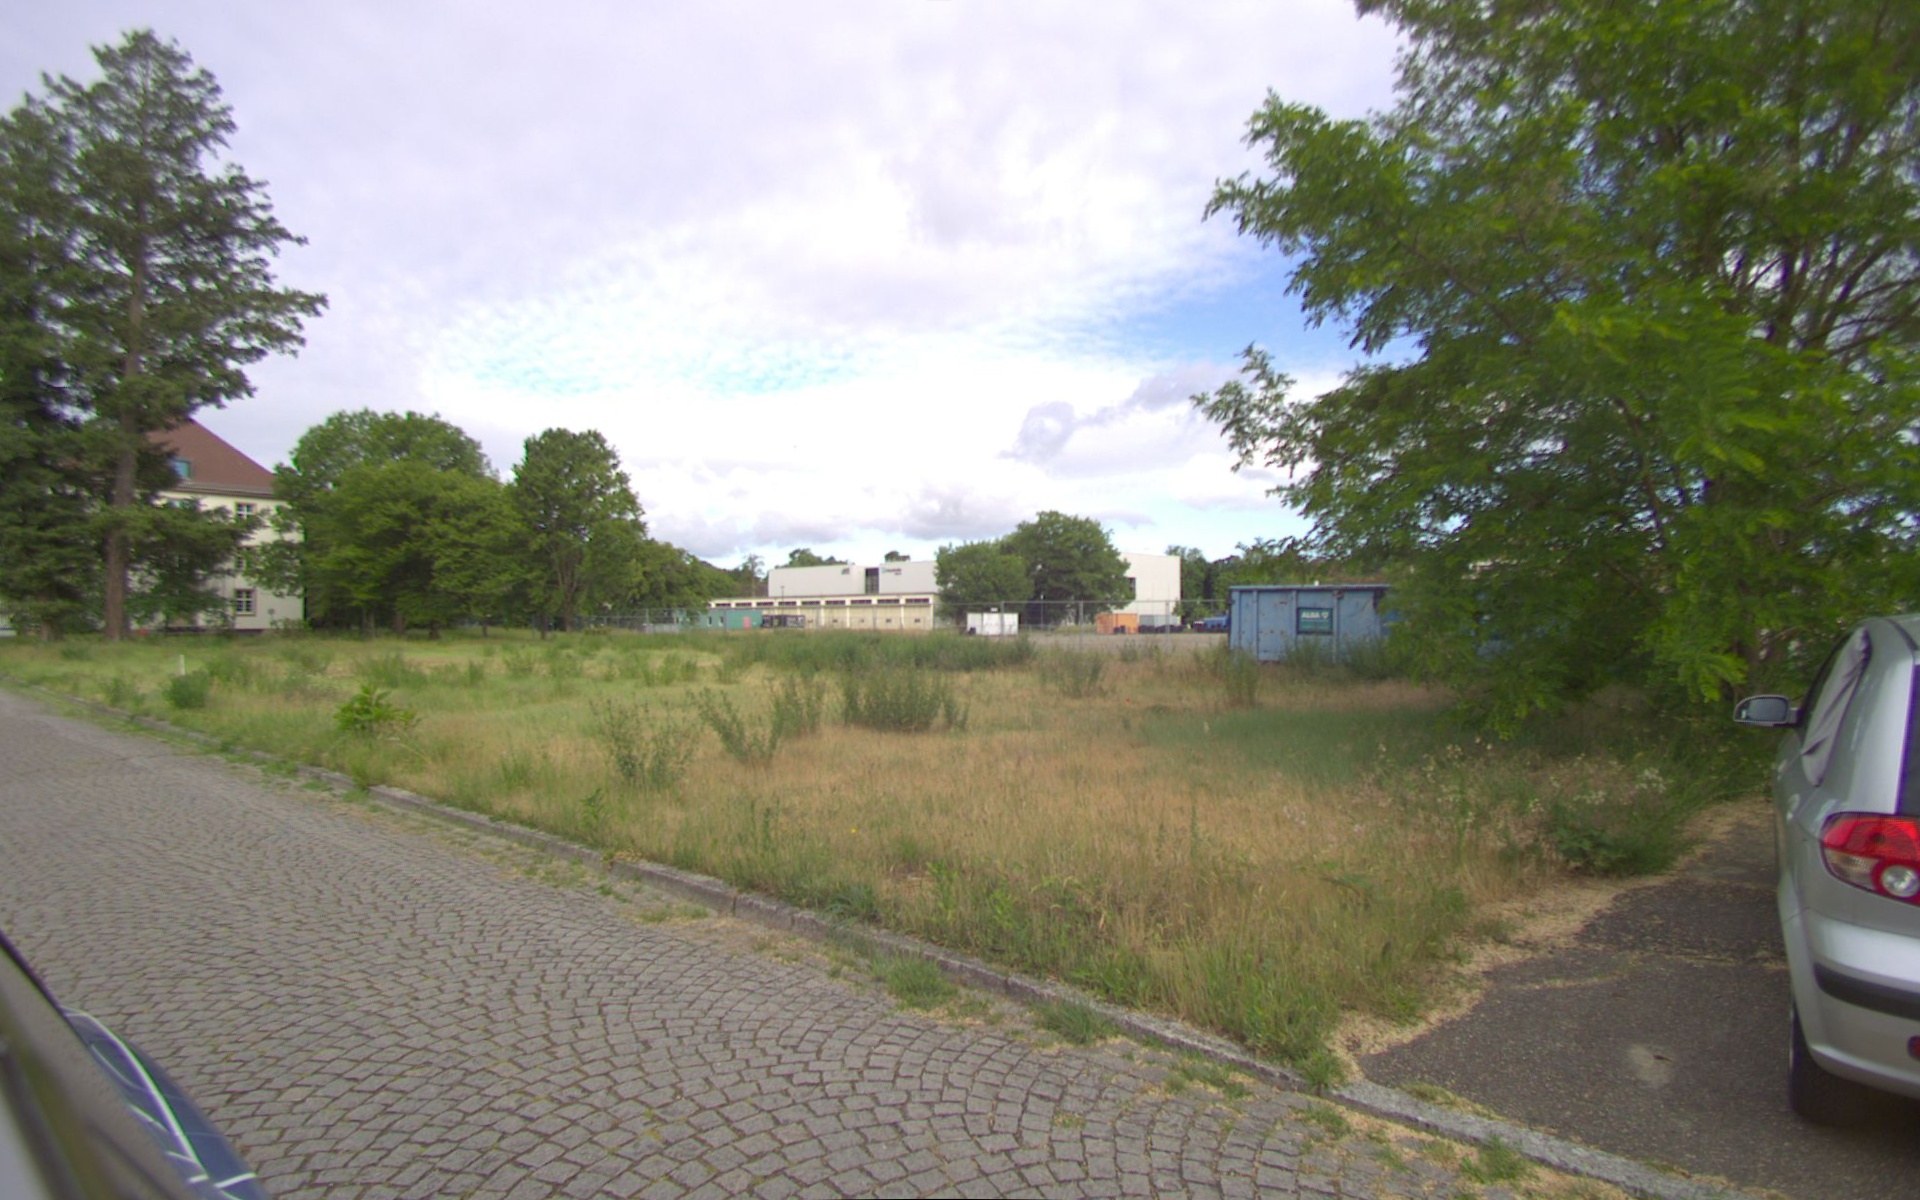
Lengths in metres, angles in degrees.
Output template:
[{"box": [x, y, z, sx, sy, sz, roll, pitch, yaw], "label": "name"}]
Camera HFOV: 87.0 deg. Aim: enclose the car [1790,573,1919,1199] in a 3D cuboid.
[{"box": [3.916, 0.661, 3.435, 1.580, 1.490, 3.668, -1, 1, 38], "label": "car"}]
